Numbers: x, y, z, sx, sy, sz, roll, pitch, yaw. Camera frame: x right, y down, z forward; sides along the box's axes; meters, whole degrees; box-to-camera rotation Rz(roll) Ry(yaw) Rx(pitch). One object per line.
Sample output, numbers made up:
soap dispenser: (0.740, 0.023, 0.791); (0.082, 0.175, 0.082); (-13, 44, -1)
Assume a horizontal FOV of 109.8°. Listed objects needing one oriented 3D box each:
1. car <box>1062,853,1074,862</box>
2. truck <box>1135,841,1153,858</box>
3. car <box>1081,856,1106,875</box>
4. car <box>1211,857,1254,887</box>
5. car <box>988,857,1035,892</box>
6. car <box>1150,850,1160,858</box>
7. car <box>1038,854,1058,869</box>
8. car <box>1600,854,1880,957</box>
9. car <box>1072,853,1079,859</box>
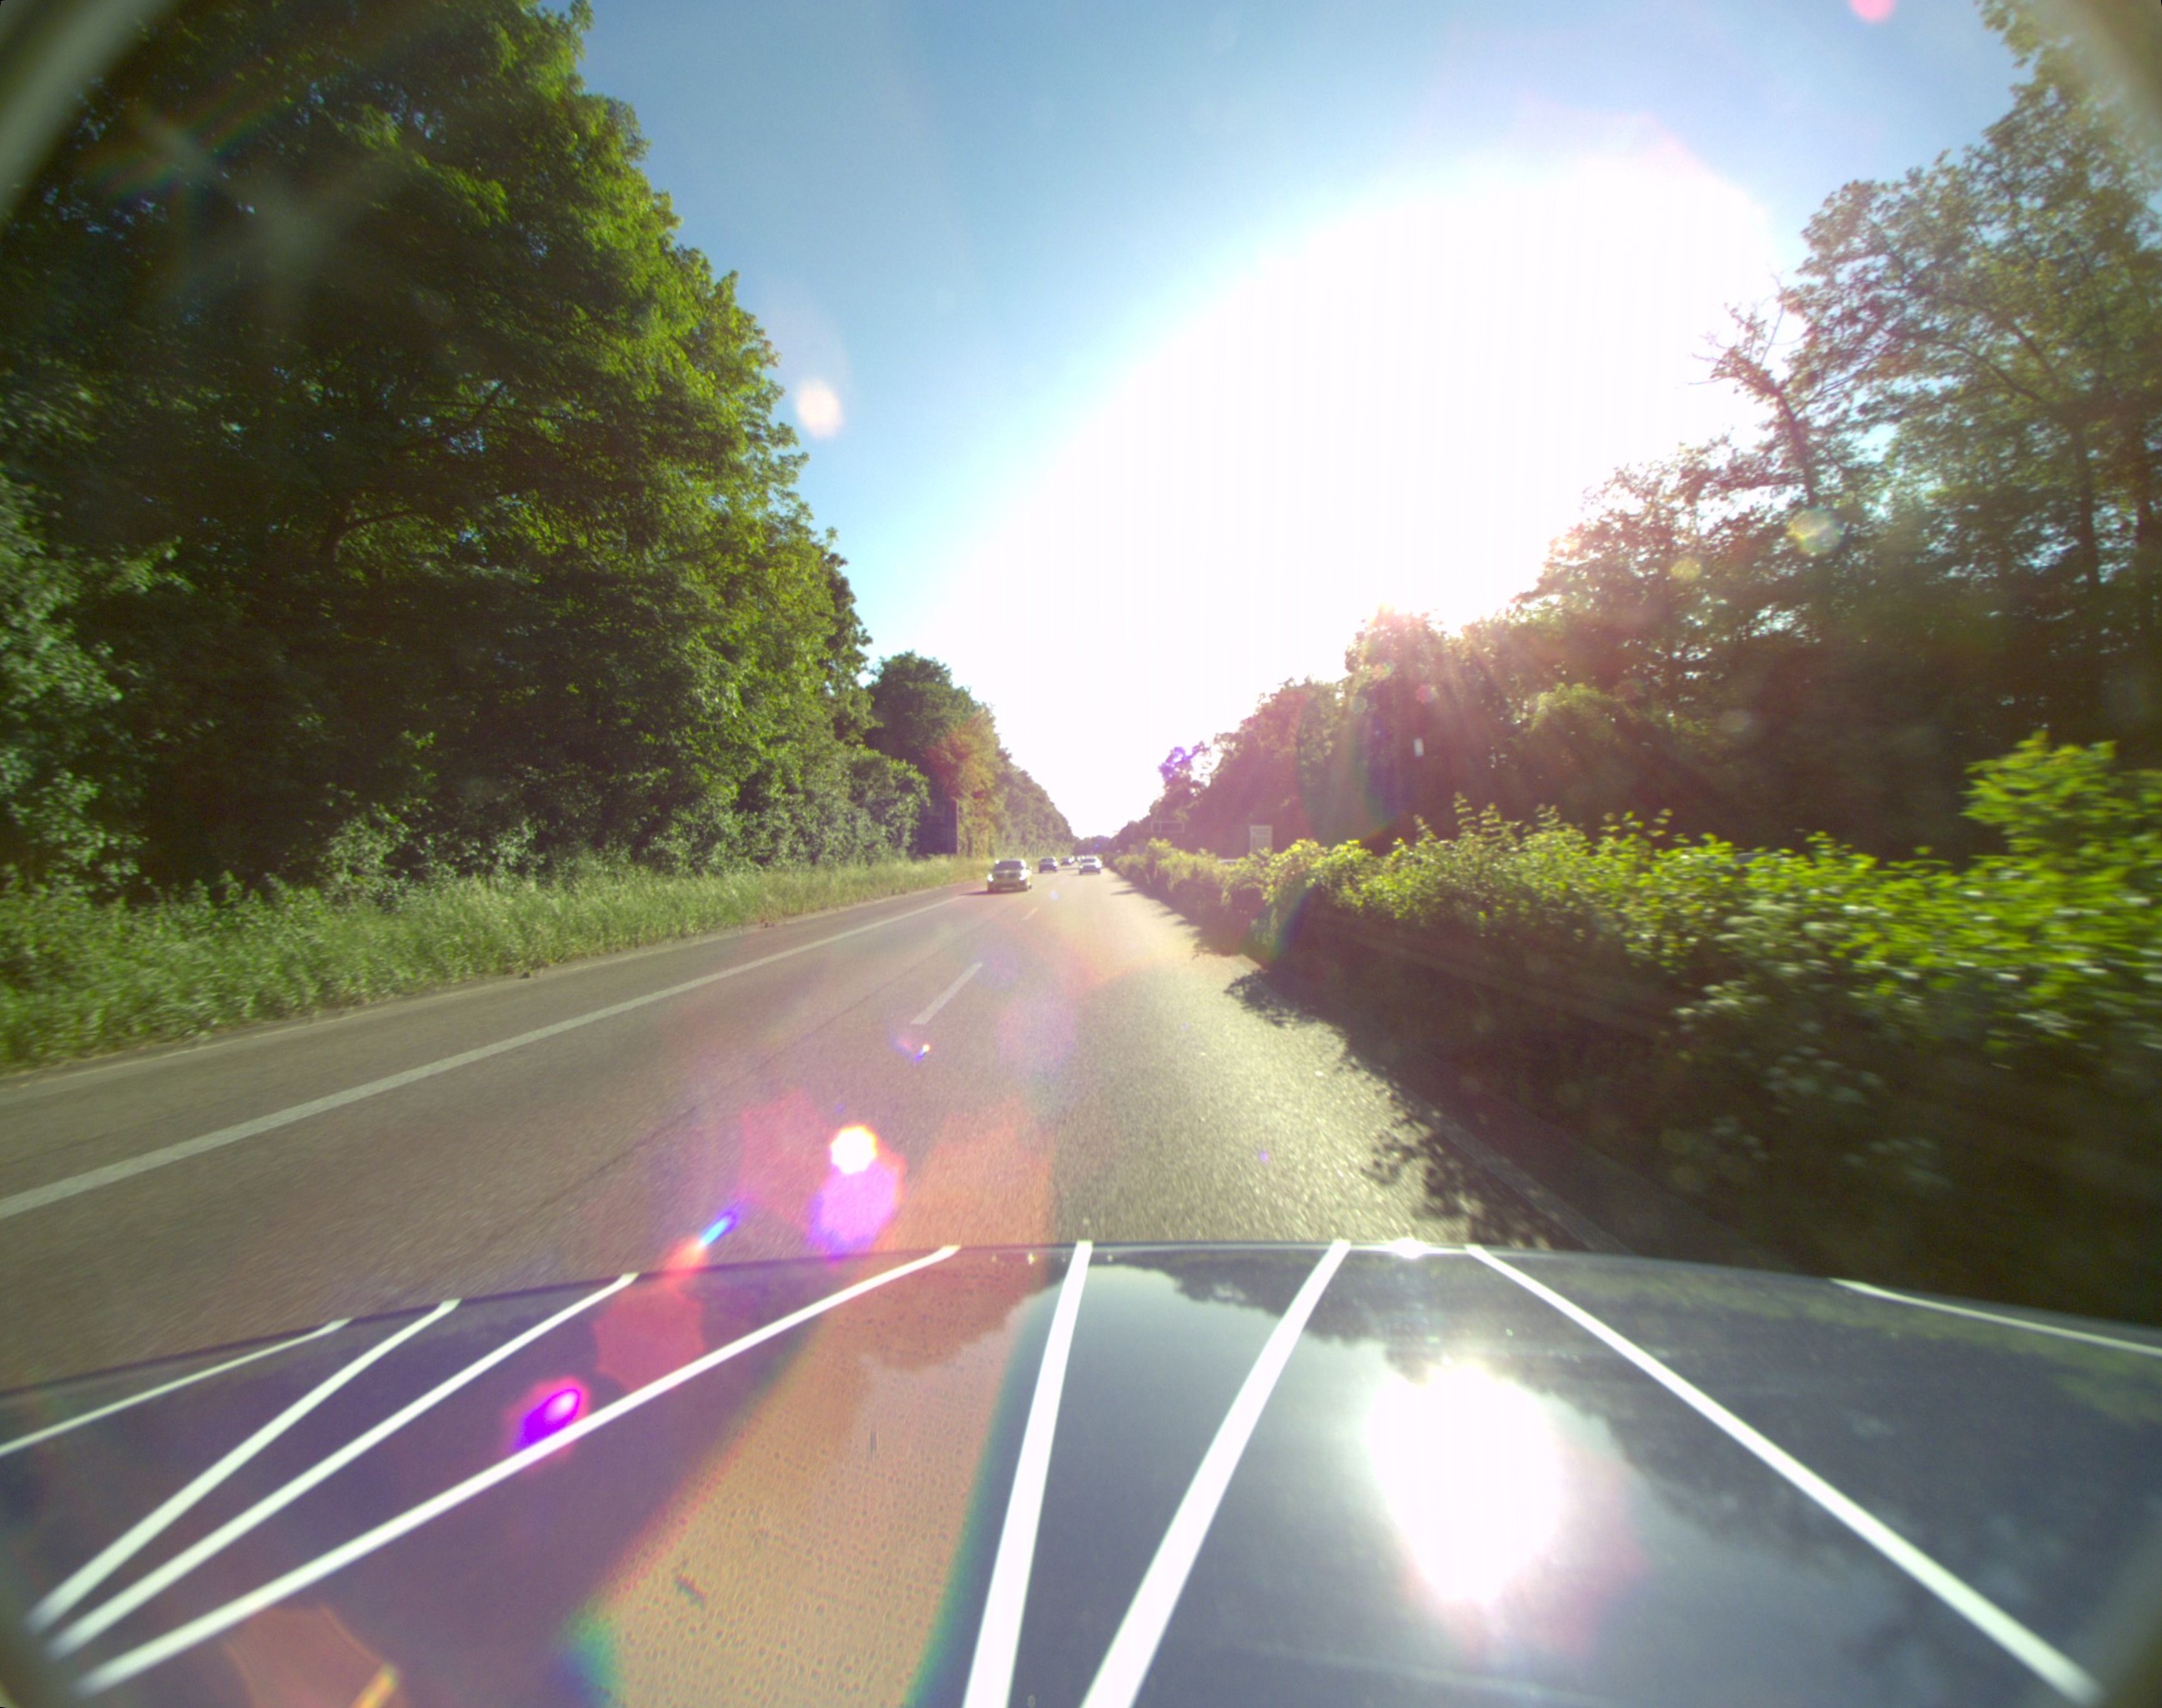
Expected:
car: (-2.144, 0.545, 125.920); (1.794, 1.440, 3.877); (-2, 0, 0)
truck: (15.069, -1.075, 183.498); (3.251, 3.989, 14.450); (-2, 0, 1)
car: (1.022, 0.938, 62.400); (1.890, 1.440, 3.878); (-2, 0, 1)
car: (9.176, 1.038, 46.426); (1.717, 1.595, 4.585); (-2, 1, 1)
car: (-3.230, 0.919, 35.781); (1.794, 1.440, 3.877); (-2, 0, 0)
car: (14.883, 0.069, 152.989); (1.768, 1.464, 3.792); (-2, 1, 1)
car: (-3.316, 0.729, 76.869); (1.794, 1.440, 3.877); (-2, 0, 0)
car: (12.149, 0.847, 14.430); (1.851, 1.565, 3.999); (-2, 1, 1)
car: (-1.516, 0.551, 202.952); (1.794, 1.440, 3.877); (-2, 0, 0)
